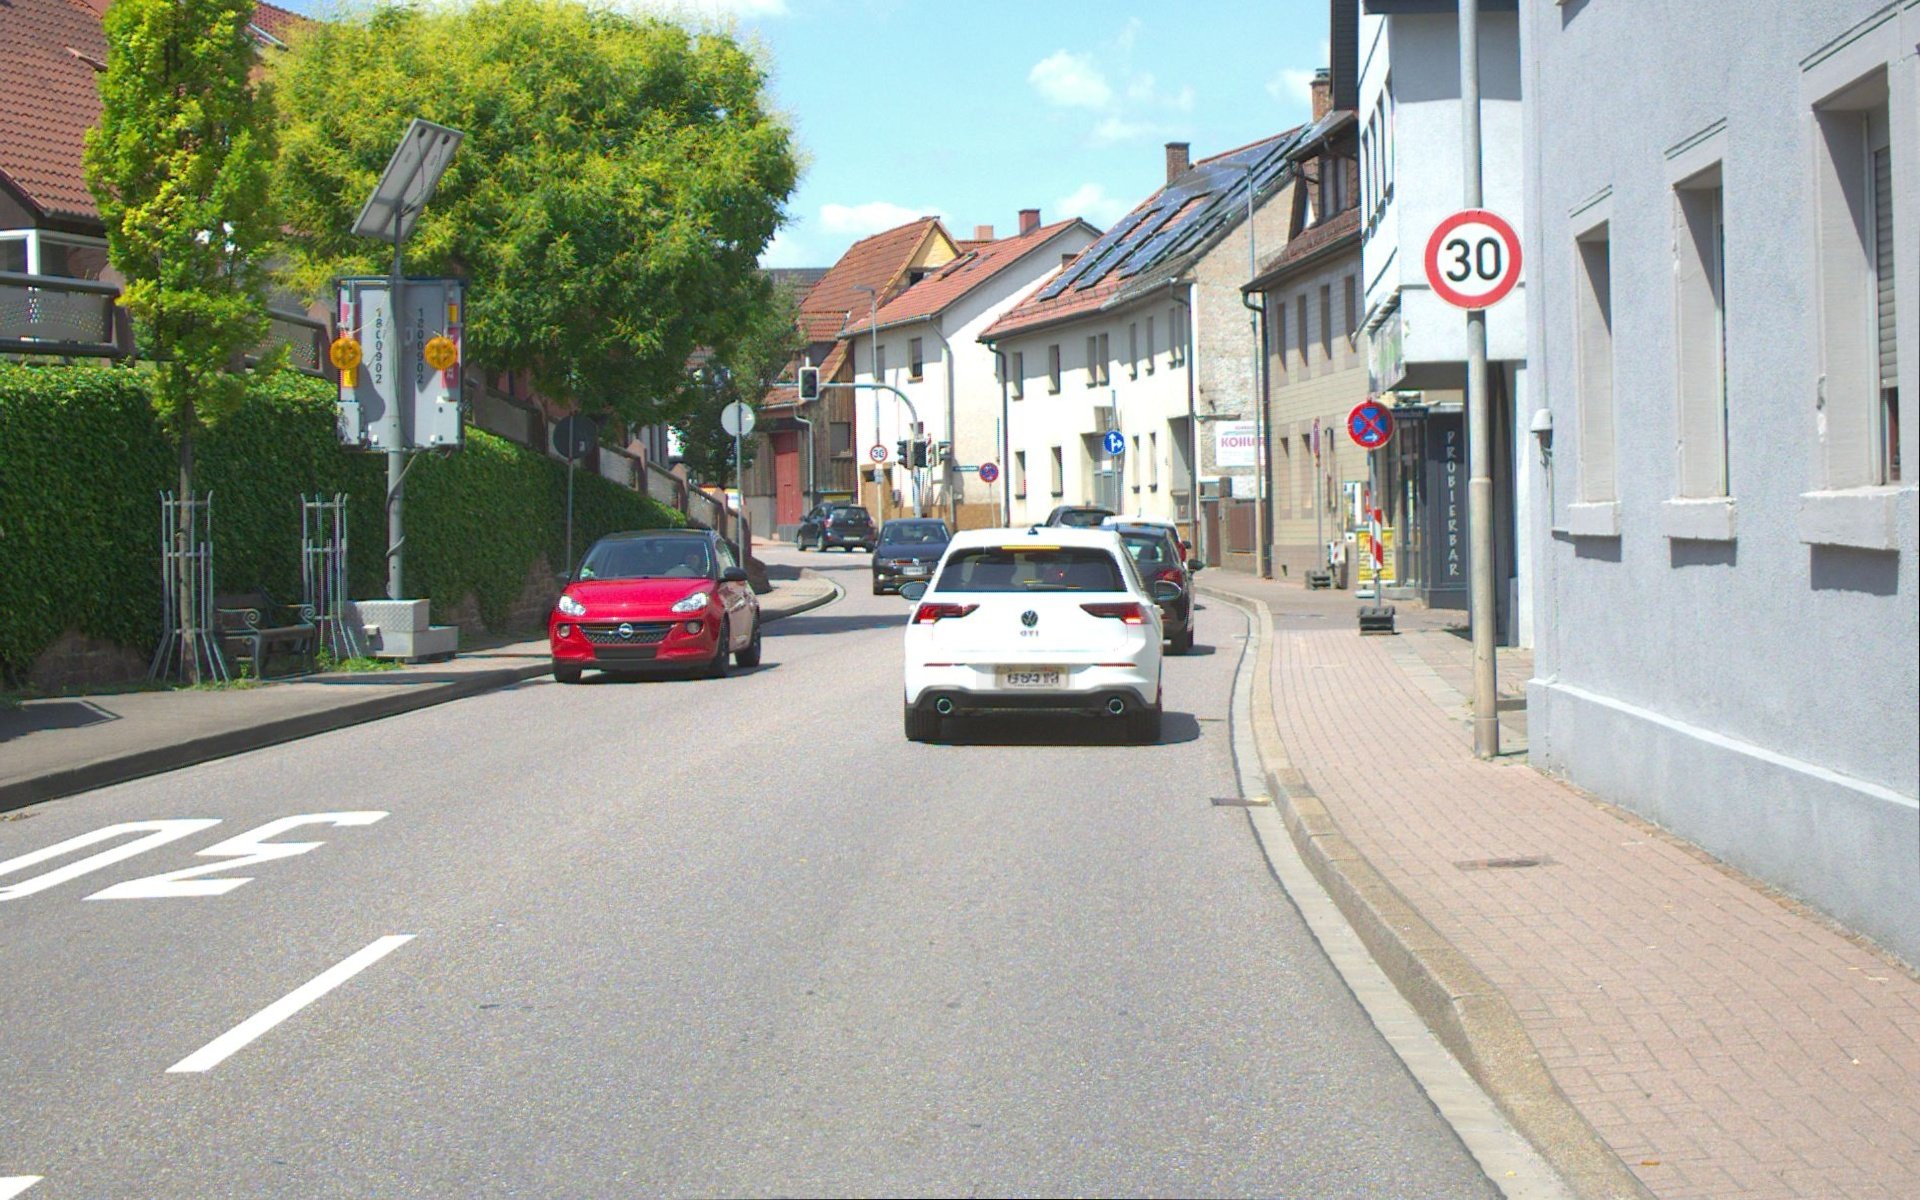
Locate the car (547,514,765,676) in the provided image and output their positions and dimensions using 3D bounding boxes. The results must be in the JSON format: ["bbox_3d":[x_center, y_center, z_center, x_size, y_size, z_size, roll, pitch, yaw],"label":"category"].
[{"bbox_3d":[-3.016,-0.091,34.785,1.617,1.439,3.801,-3,2,3],"label":"car"}]

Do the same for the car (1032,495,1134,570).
[{"bbox_3d":[2.622,-1.475,74.039,1.775,1.533,4.001,-1,2,-3],"label":"car"}]

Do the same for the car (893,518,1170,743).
[{"bbox_3d":[0.431,0.153,24.483,1.807,1.462,4.000,0,1,-1],"label":"car"}]

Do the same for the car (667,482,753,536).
[{"bbox_3d":[-8.501,-3.075,116.555,1.775,1.759,4.001,-2,2,-21],"label":"car"}]

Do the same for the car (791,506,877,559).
[{"bbox_3d":[-3.797,-2.035,103.019,1.775,1.533,4.001,-2,2,-13],"label":"car"}]

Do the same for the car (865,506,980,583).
[{"bbox_3d":[-0.683,-1.087,66.008,1.794,1.373,4.116,-1,2,5],"label":"car"}]

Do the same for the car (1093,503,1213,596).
[{"bbox_3d":[3.200,-0.848,56.359,1.808,1.462,3.999,0,1,5],"label":"car"}]
